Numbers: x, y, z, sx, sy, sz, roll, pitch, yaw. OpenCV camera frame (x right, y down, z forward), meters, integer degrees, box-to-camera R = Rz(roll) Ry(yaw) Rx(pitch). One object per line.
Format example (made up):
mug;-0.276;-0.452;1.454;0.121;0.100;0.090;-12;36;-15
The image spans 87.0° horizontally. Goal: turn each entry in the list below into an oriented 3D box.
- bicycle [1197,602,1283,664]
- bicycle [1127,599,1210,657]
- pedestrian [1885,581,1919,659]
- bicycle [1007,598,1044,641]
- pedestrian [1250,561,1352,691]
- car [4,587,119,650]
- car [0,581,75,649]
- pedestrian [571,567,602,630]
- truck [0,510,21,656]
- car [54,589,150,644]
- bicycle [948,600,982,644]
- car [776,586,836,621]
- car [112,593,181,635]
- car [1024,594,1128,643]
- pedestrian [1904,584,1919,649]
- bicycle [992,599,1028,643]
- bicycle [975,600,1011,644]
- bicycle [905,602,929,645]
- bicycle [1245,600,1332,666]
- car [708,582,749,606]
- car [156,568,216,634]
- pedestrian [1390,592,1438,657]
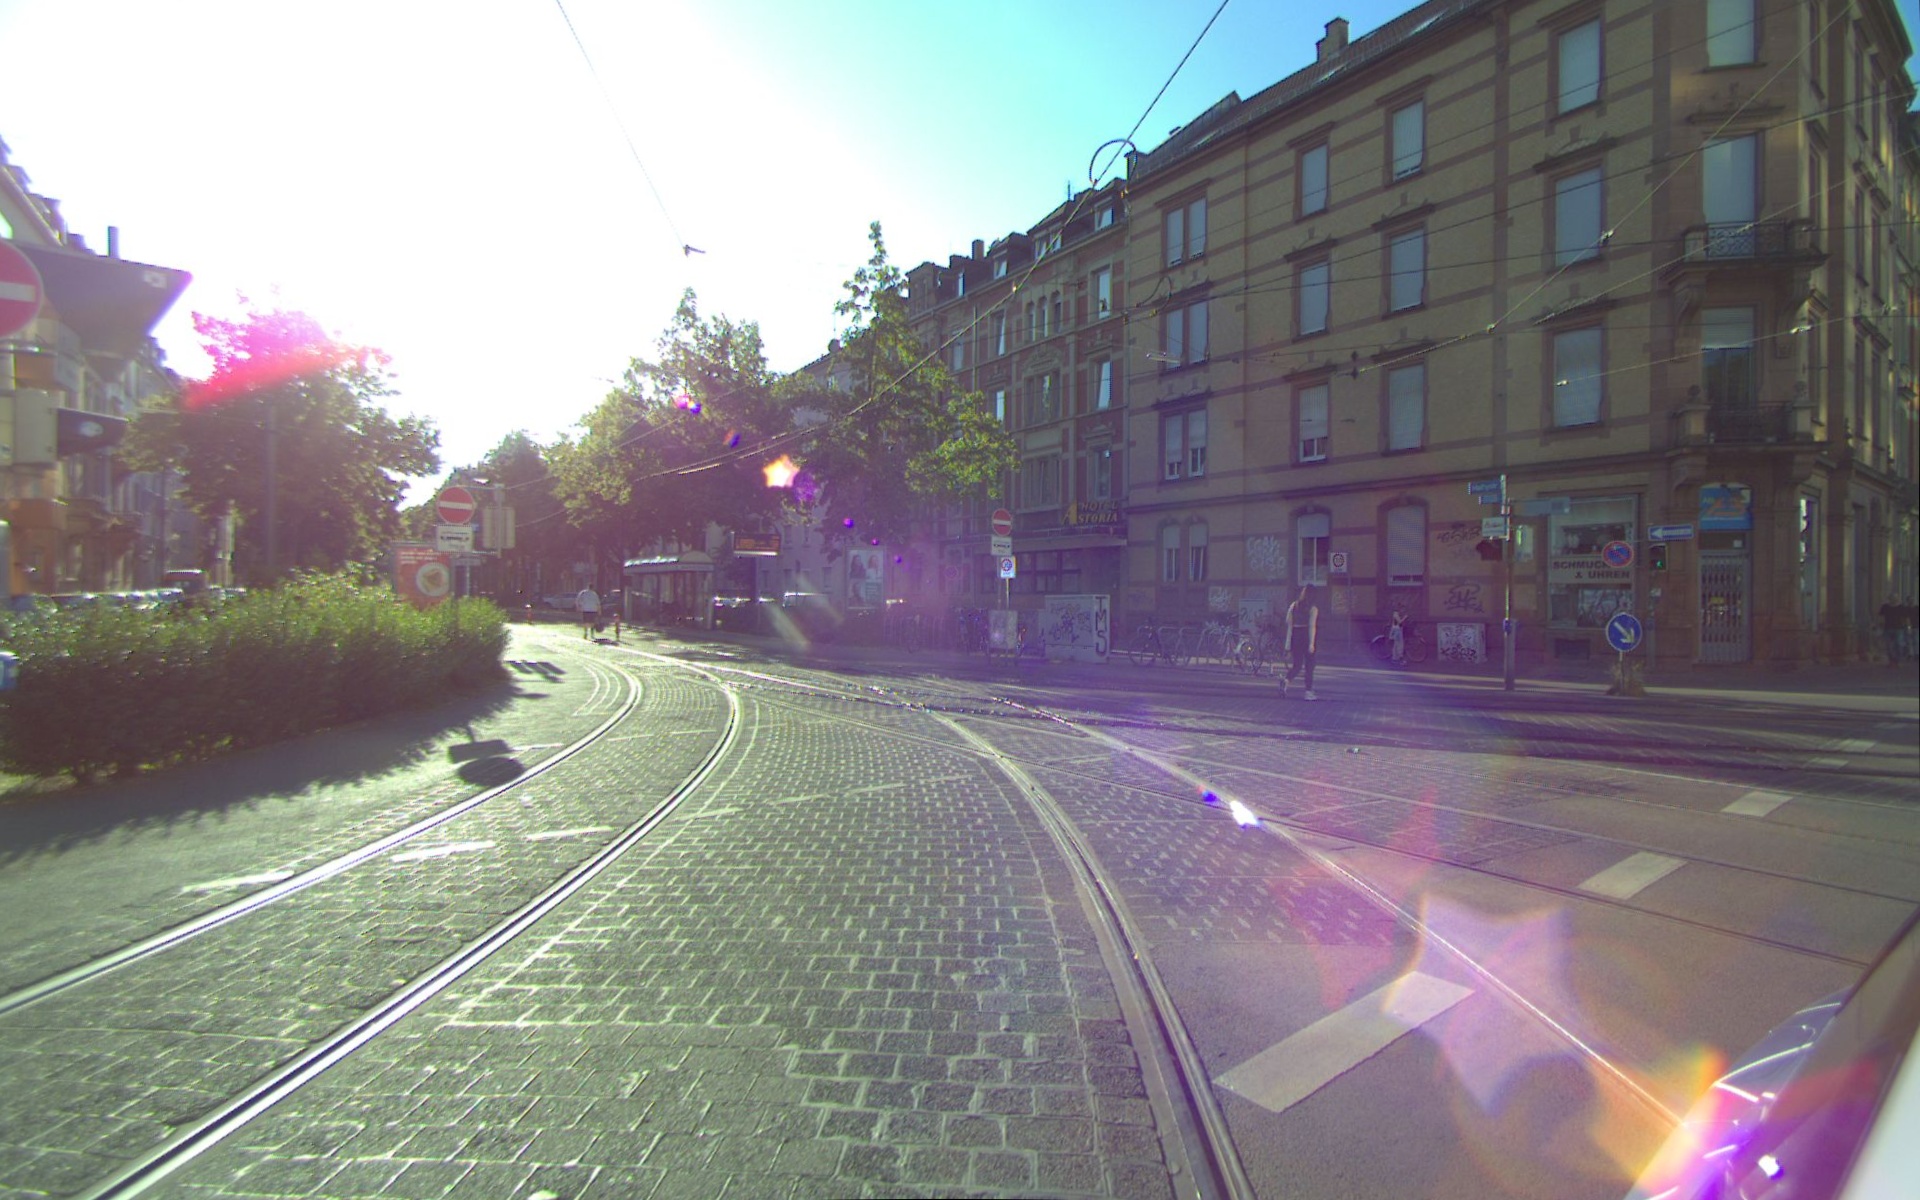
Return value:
bicycle;6.096;0.720;21.983;1.930;1.280;0.756;3;-2;-36
bicycle;4.847;0.665;23.448;1.930;1.280;0.756;3;-2;-36
pedestrian;21.931;0.448;23.340;0.741;1.744;0.777;-1;1;-39
bicycle;1.771;0.521;27.667;0.490;1.121;1.803;-2;1;-13
pedestrian;5.029;0.356;14.941;1.065;1.829;1.024;-1;0;-43
car;-28.765;0.544;32.549;1.907;1.793;4.276;-3;1;-31
car;-25.335;0.415;26.914;1.907;1.652;4.276;-3;1;-31
pedestrian;-12.338;-0.042;33.428;0.847;2.039;0.607;1;0;-29
truck;-20.366;-0.346;19.451;2.286;3.119;8.083;-1;0;-35
car;-31.170;0.567;36.906;1.907;1.793;4.276;-3;1;-31
bicycle;0.118;0.586;27.351;0.490;1.121;1.803;-2;1;-13
car;-8.651;0.203;56.562;1.937;1.842;3.985;1;-1;-31
car;-38.828;0.633;48.424;1.907;1.793;4.276;-3;1;-31
car;3.815;0.600;33.832;1.663;1.514;3.583;0;-1;-29
pedestrian;26.178;0.445;27.418;0.741;1.744;0.777;-1;1;-39
bicycle;1.339;0.555;27.527;0.490;1.121;1.803;-2;1;-13
bicycle;0.879;0.568;27.435;0.490;1.121;1.803;-2;1;-13
bicycle;-1.174;0.623;27.787;0.491;1.121;1.799;-2;1;2
bicycle;6.732;0.683;20.723;1.800;1.280;0.756;3;-2;-36
car;-15.531;-0.366;67.833;1.664;1.534;3.583;1;-1;-31
car;-43.905;0.051;57.536;1.907;3.513;5.704;-3;1;-31
pedestrian;11.895;0.634;26.531;0.749;1.589;0.745;-6;2;-33
